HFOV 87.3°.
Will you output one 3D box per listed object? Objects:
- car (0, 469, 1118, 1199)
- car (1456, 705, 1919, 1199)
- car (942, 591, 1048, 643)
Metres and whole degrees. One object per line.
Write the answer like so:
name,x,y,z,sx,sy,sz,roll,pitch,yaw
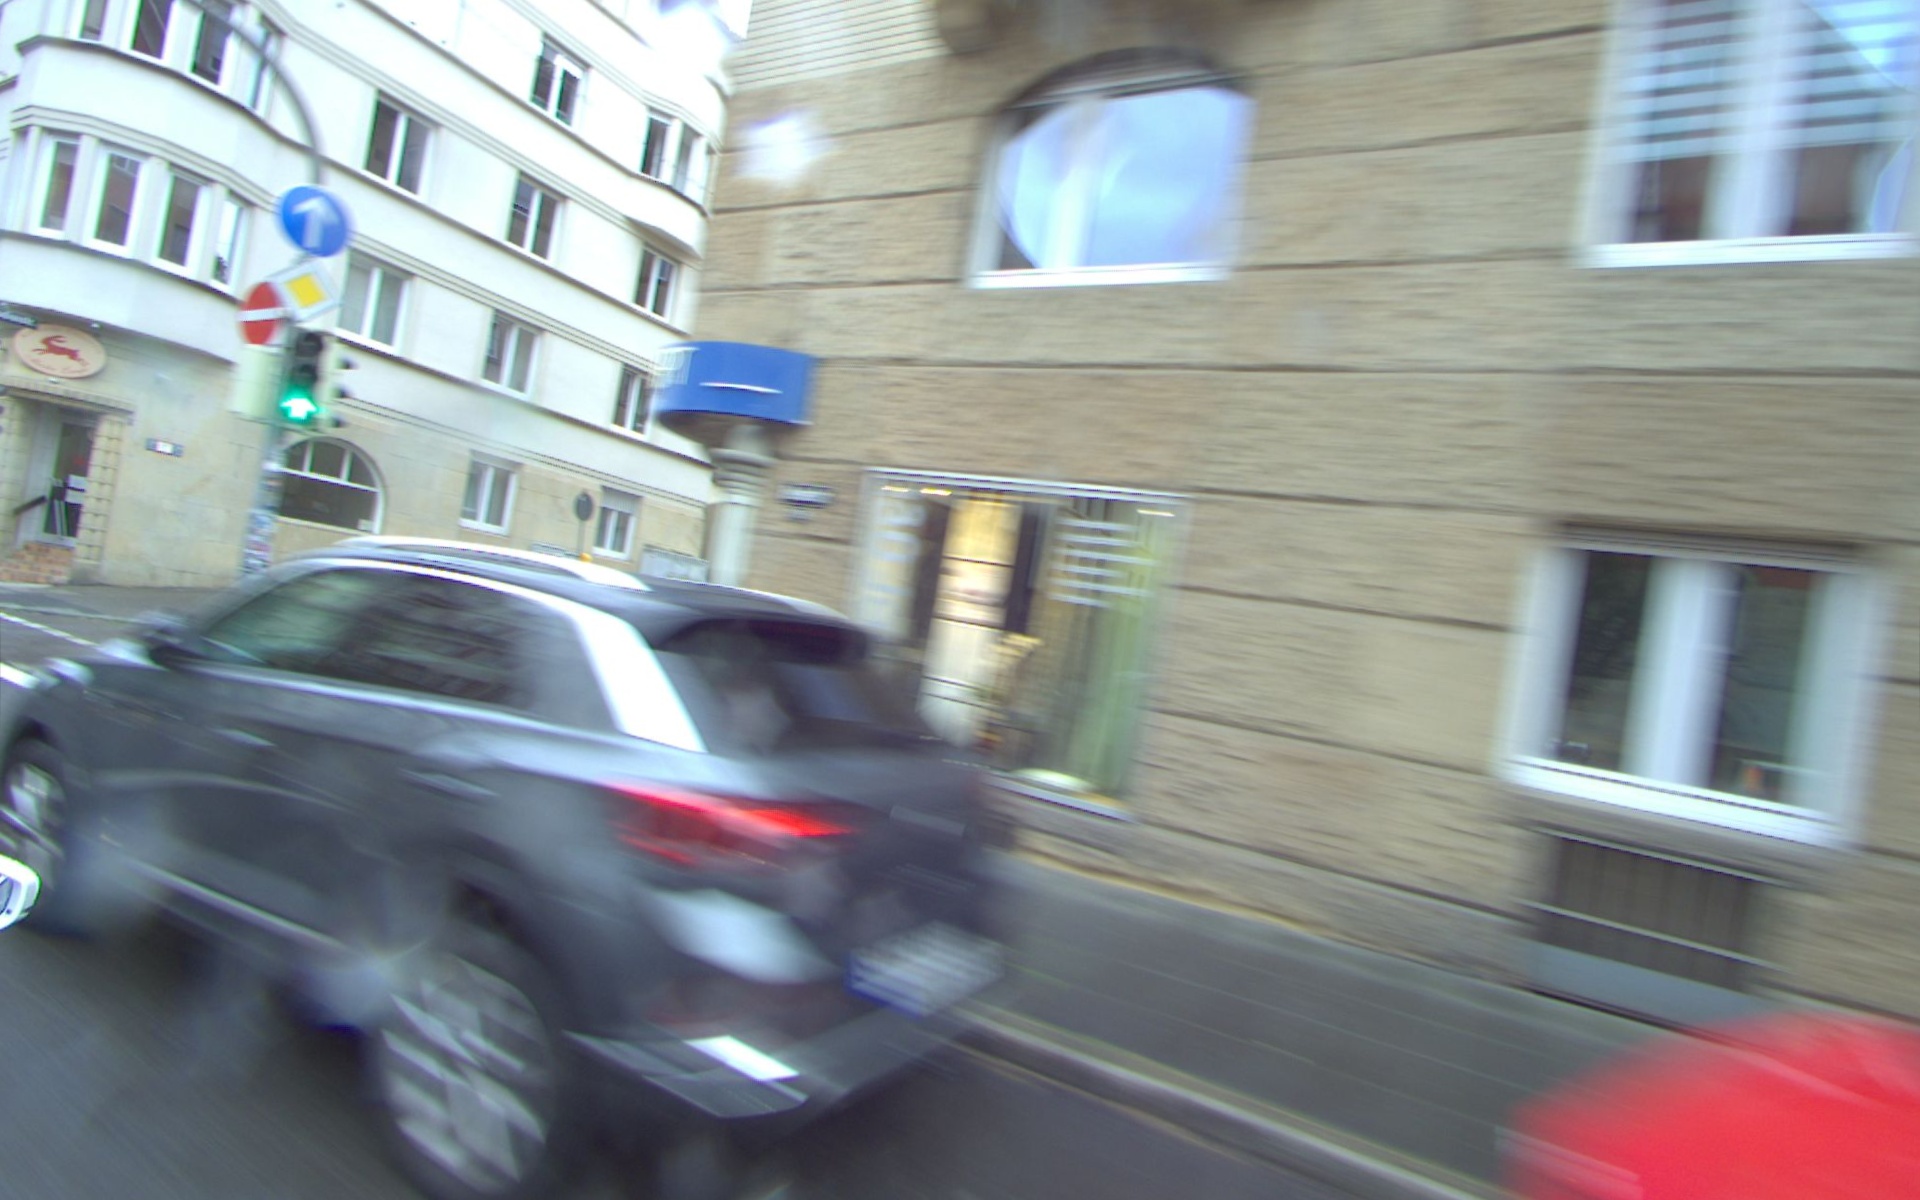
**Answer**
car,-1.680,0.554,3.735,3.924,1.565,1.873,6,-3,31
car,2.556,1.133,1.190,3.472,1.469,1.711,6,-3,29
car,1.335,0.647,36.062,1.945,1.588,4.363,4,-1,29
